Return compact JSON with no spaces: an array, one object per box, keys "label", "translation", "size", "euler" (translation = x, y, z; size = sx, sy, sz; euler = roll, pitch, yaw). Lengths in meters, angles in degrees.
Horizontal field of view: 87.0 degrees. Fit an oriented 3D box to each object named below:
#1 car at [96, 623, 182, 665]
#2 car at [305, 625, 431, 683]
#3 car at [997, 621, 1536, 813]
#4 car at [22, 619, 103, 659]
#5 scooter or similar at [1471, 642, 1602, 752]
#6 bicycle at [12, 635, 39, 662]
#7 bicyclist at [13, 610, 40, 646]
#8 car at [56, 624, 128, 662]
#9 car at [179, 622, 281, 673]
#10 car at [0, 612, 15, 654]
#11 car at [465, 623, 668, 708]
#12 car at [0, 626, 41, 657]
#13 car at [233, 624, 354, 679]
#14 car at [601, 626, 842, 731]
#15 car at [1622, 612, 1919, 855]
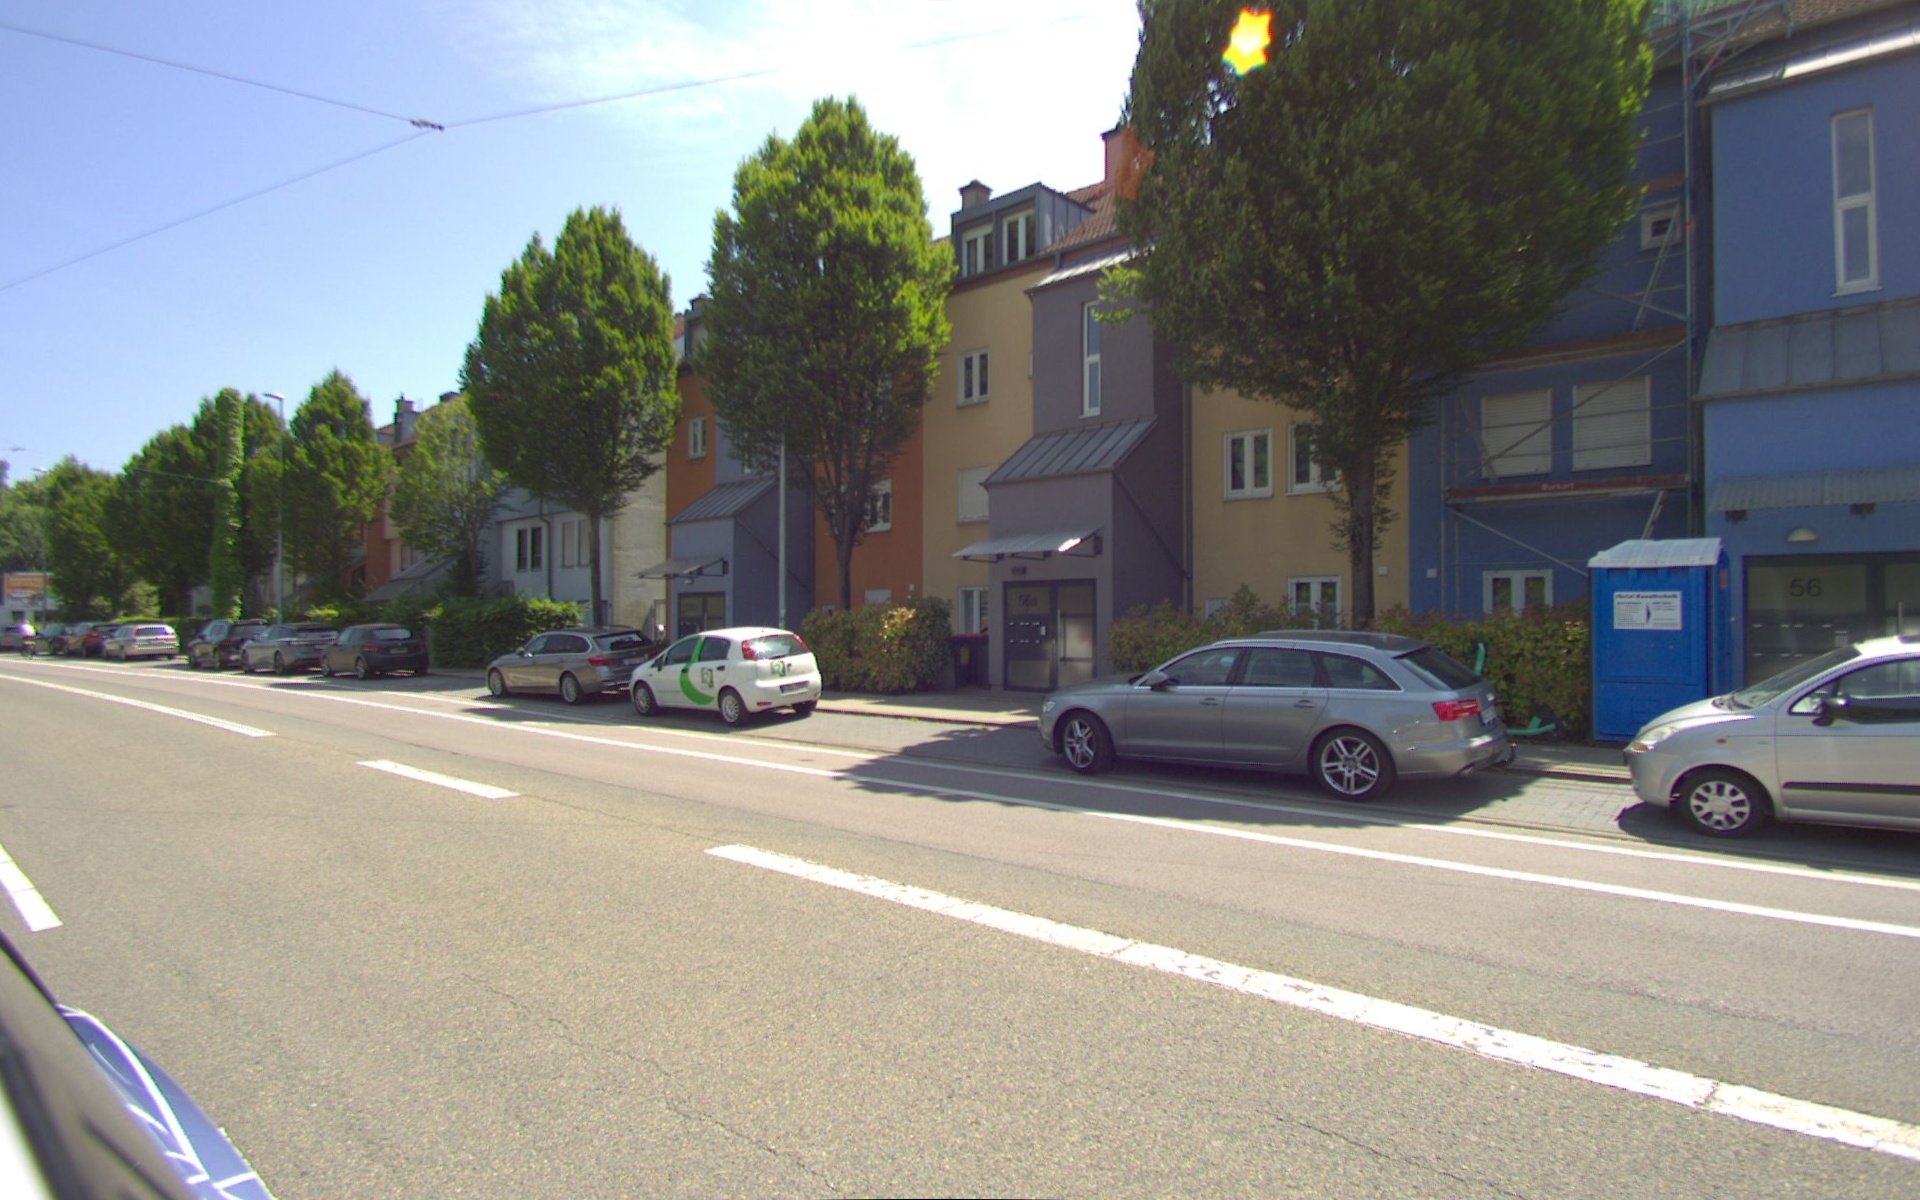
[{"label":"car","translation":[-34.254,1.803,42.182],"size":[4.490,1.594,1.822],"euler":[-2,0,38]},{"label":"car","translation":[-16.611,1.461,28.332],"size":[4.254,1.443,1.732],"euler":[-1,0,40]},{"label":"car","translation":[2.982,1.058,10.690],"size":[5.129,1.461,1.769],"euler":[-2,2,40]},{"label":"car","translation":[-43.245,1.843,48.734],"size":[4.549,1.808,1.976],"euler":[-1,-1,36]},{"label":"scooter or similar","translation":[6.432,1.056,11.321],"size":[1.183,1.154,0.449],"euler":[-2,-2,43]},{"label":"bicycle","translation":[-40.100,2.089,43.440],"size":[1.638,1.104,0.633],"euler":[0,-3,42]},{"label":"bicyclist","translation":[-40.066,1.186,43.451],"size":[0.736,1.516,0.728],"euler":[0,-3,42]},{"label":"car","translation":[-39.097,1.928,45.571],"size":[3.673,1.606,1.586],"euler":[-2,0,35]},{"label":"car","translation":[-25.387,1.630,35.147],"size":[4.142,1.601,1.750],"euler":[-2,0,38]},{"label":"car","translation":[-55.716,1.922,57.100],"size":[5.213,2.325,2.260],"euler":[-2,0,33]},{"label":"car","translation":[-8.279,1.299,21.103],"size":[4.744,1.440,1.688],"euler":[-2,3,38]},{"label":"car","translation":[-50.639,2.222,53.825],"size":[4.135,1.549,1.848],"euler":[-2,0,36]},{"label":"car","translation":[-20.821,1.556,31.538],"size":[4.752,1.507,1.807],"euler":[-2,0,40]},{"label":"car","translation":[-4.209,1.251,17.445],"size":[4.418,1.453,1.728],"euler":[-2,3,41]},{"label":"car","translation":[6.968,0.902,7.314],"size":[3.447,1.506,1.577],"euler":[-2,3,41]}]
